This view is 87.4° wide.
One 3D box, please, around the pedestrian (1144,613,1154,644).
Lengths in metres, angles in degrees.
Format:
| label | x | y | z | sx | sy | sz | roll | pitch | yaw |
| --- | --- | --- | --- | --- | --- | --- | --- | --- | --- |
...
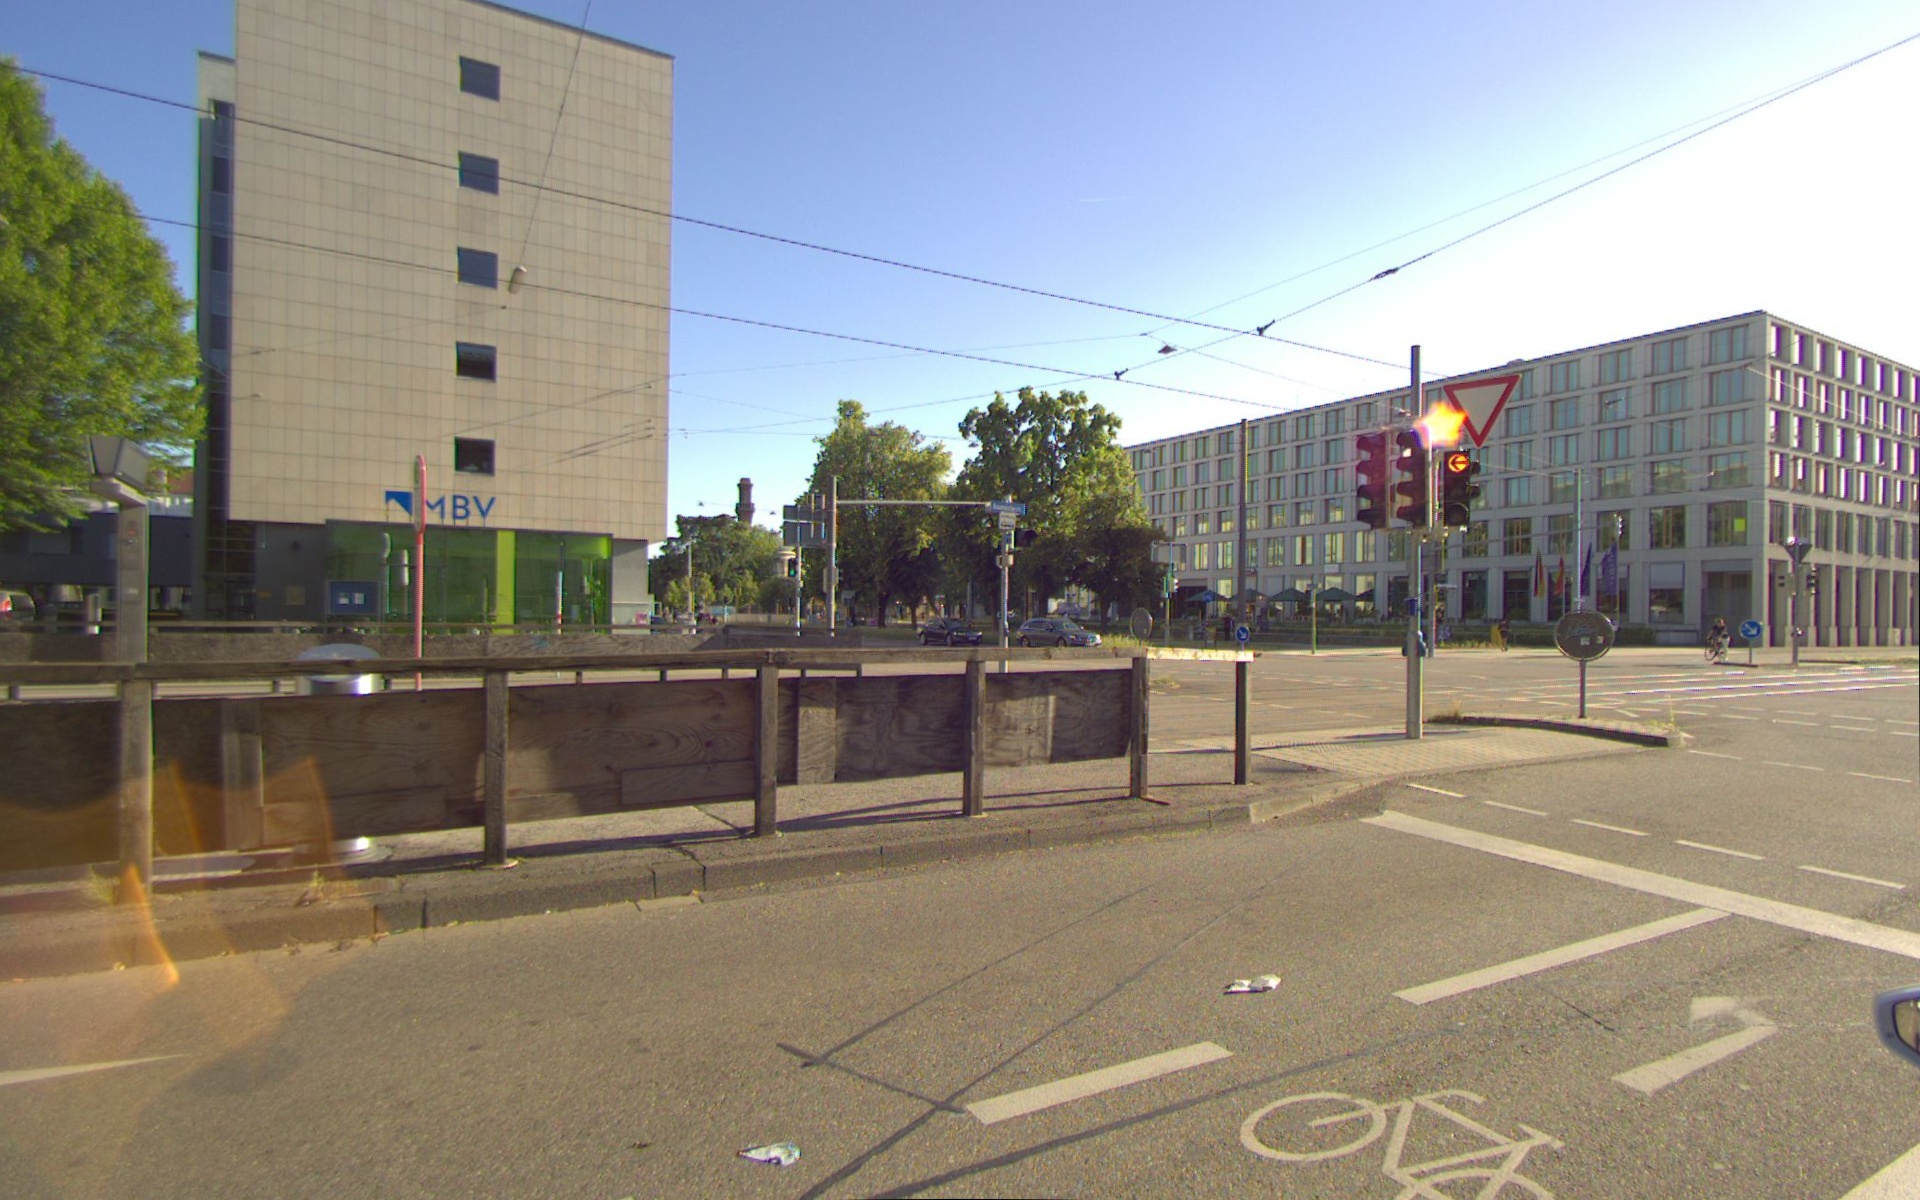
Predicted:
| label | x | y | z | sx | sy | sz | roll | pitch | yaw |
| --- | --- | --- | --- | --- | --- | --- | --- | --- | --- |
| pedestrian | 12.835 | 1.940 | 68.218 | 0.483 | 2.040 | 0.493 | 1 | -1 | -17 |

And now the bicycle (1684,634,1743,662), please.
| label | x | y | z | sx | sy | sz | roll | pitch | yaw |
| --- | --- | --- | --- | --- | --- | --- | --- | --- | --- |
| bicycle | 31.766 | 2.011 | 42.320 | 2.976 | 1.136 | 0.871 | 1 | -1 | -29 |

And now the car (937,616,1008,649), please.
| label | x | y | z | sx | sy | sz | roll | pitch | yaw |
| --- | --- | --- | --- | --- | --- | --- | --- | --- | --- |
| car | 0.598 | 1.606 | 51.184 | 1.801 | 1.595 | 3.967 | 0 | 0 | -31 |

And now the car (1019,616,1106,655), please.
| label | x | y | z | sx | sy | sz | roll | pitch | yaw |
| --- | --- | --- | --- | --- | --- | --- | --- | --- | --- |
| car | 4.471 | 1.537 | 44.495 | 1.708 | 1.595 | 4.140 | 1 | -1 | -31 |

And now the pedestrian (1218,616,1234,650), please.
| label | x | y | z | sx | sy | sz | roll | pitch | yaw |
| --- | --- | --- | --- | --- | --- | --- | --- | --- | --- |
| pedestrian | 16.435 | 2.019 | 62.110 | 0.644 | 2.096 | 0.645 | 2 | -1 | -36 |

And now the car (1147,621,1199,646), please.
| label | x | y | z | sx | sy | sz | roll | pitch | yaw |
| --- | --- | --- | --- | --- | --- | --- | --- | --- | --- |
| car | 13.410 | 2.094 | 63.307 | 1.455 | 1.457 | 3.168 | 1 | -1 | -32 |

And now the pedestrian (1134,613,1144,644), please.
| label | x | y | z | sx | sy | sz | roll | pitch | yaw |
| --- | --- | --- | --- | --- | --- | --- | --- | --- | --- |
| pedestrian | 12.099 | 1.916 | 67.870 | 0.483 | 2.040 | 0.493 | 1 | -1 | -17 |

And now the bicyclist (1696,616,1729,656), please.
| label | x | y | z | sx | sy | sz | roll | pitch | yaw |
| --- | --- | --- | --- | --- | --- | --- | --- | --- | --- |
| bicyclist | 31.781 | 1.517 | 42.413 | 0.812 | 1.663 | 0.872 | 1 | -1 | -29 |

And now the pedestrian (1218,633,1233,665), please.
| label | x | y | z | sx | sy | sz | roll | pitch | yaw |
| --- | --- | --- | --- | --- | --- | --- | --- | --- | --- |
| pedestrian | 17.035 | 3.111 | 64.372 | 0.793 | 2.040 | 0.526 | 1 | -1 | -36 |

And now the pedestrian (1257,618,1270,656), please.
| label | x | y | z | sx | sy | sz | roll | pitch | yaw |
| --- | --- | --- | --- | --- | --- | --- | --- | --- | --- |
| pedestrian | 18.516 | 2.239 | 61.333 | 0.528 | 2.310 | 0.565 | 1 | -1 | -36 |

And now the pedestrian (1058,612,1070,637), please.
| label | x | y | z | sx | sy | sz | roll | pitch | yaw |
| --- | --- | --- | --- | --- | --- | --- | --- | --- | --- |
| pedestrian | 7.874 | 1.847 | 75.918 | 0.672 | 1.928 | 0.560 | 1 | -1 | -21 |
